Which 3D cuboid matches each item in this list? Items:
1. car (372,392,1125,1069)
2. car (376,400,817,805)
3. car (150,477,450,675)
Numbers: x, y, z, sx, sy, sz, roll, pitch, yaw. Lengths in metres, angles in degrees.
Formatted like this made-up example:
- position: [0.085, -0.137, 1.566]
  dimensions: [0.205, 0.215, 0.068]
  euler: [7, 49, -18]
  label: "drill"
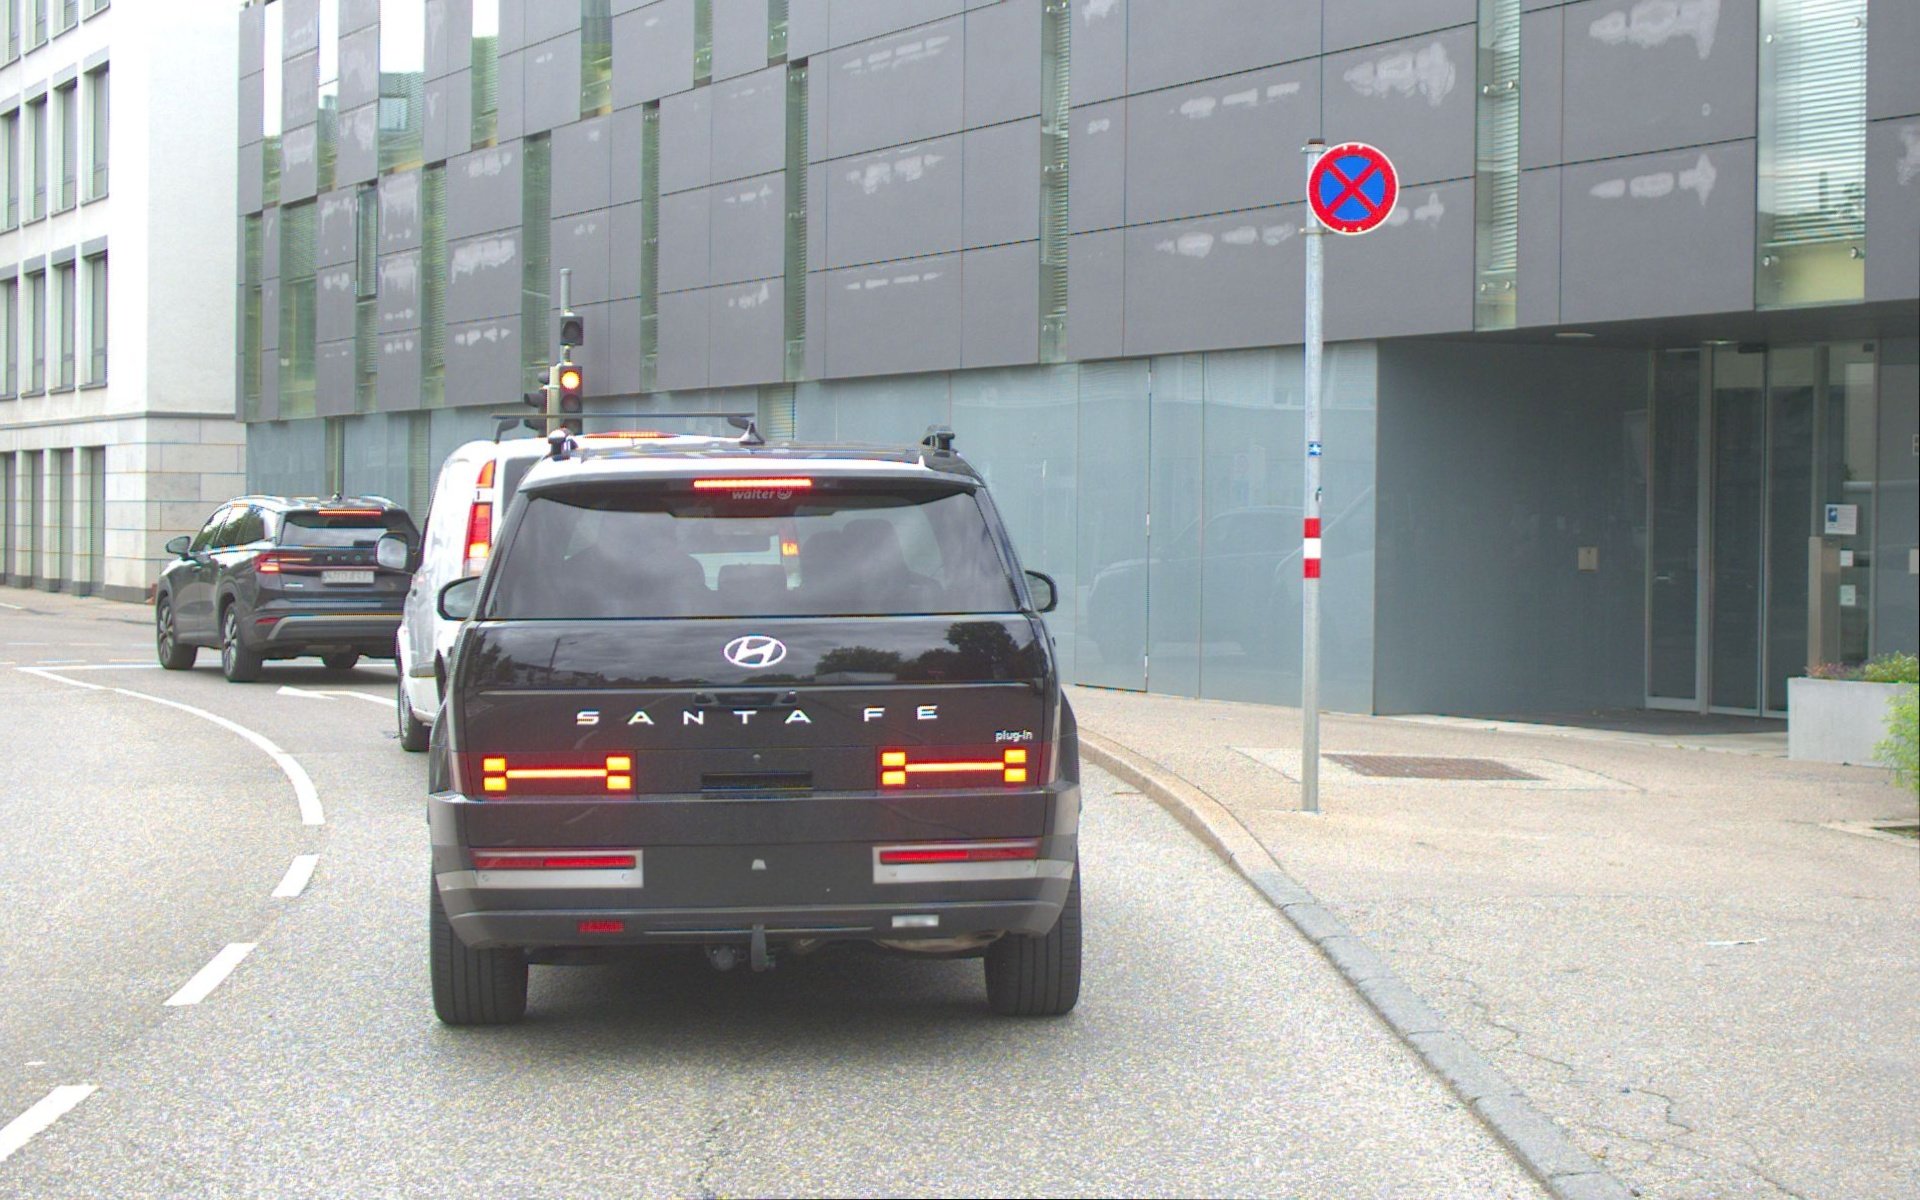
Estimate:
- position: [-0.704, 0.297, 11.142]
  dimensions: [1.915, 1.719, 4.171]
  euler: [2, 1, -4]
  label: "car"
- position: [-2.191, -0.057, 19.559]
  dimensions: [1.855, 2.026, 4.439]
  euler: [0, 2, -14]
  label: "car"
- position: [-6.122, -0.249, 31.502]
  dimensions: [1.847, 1.671, 4.376]
  euler: [-1, 1, -22]
  label: "car"
